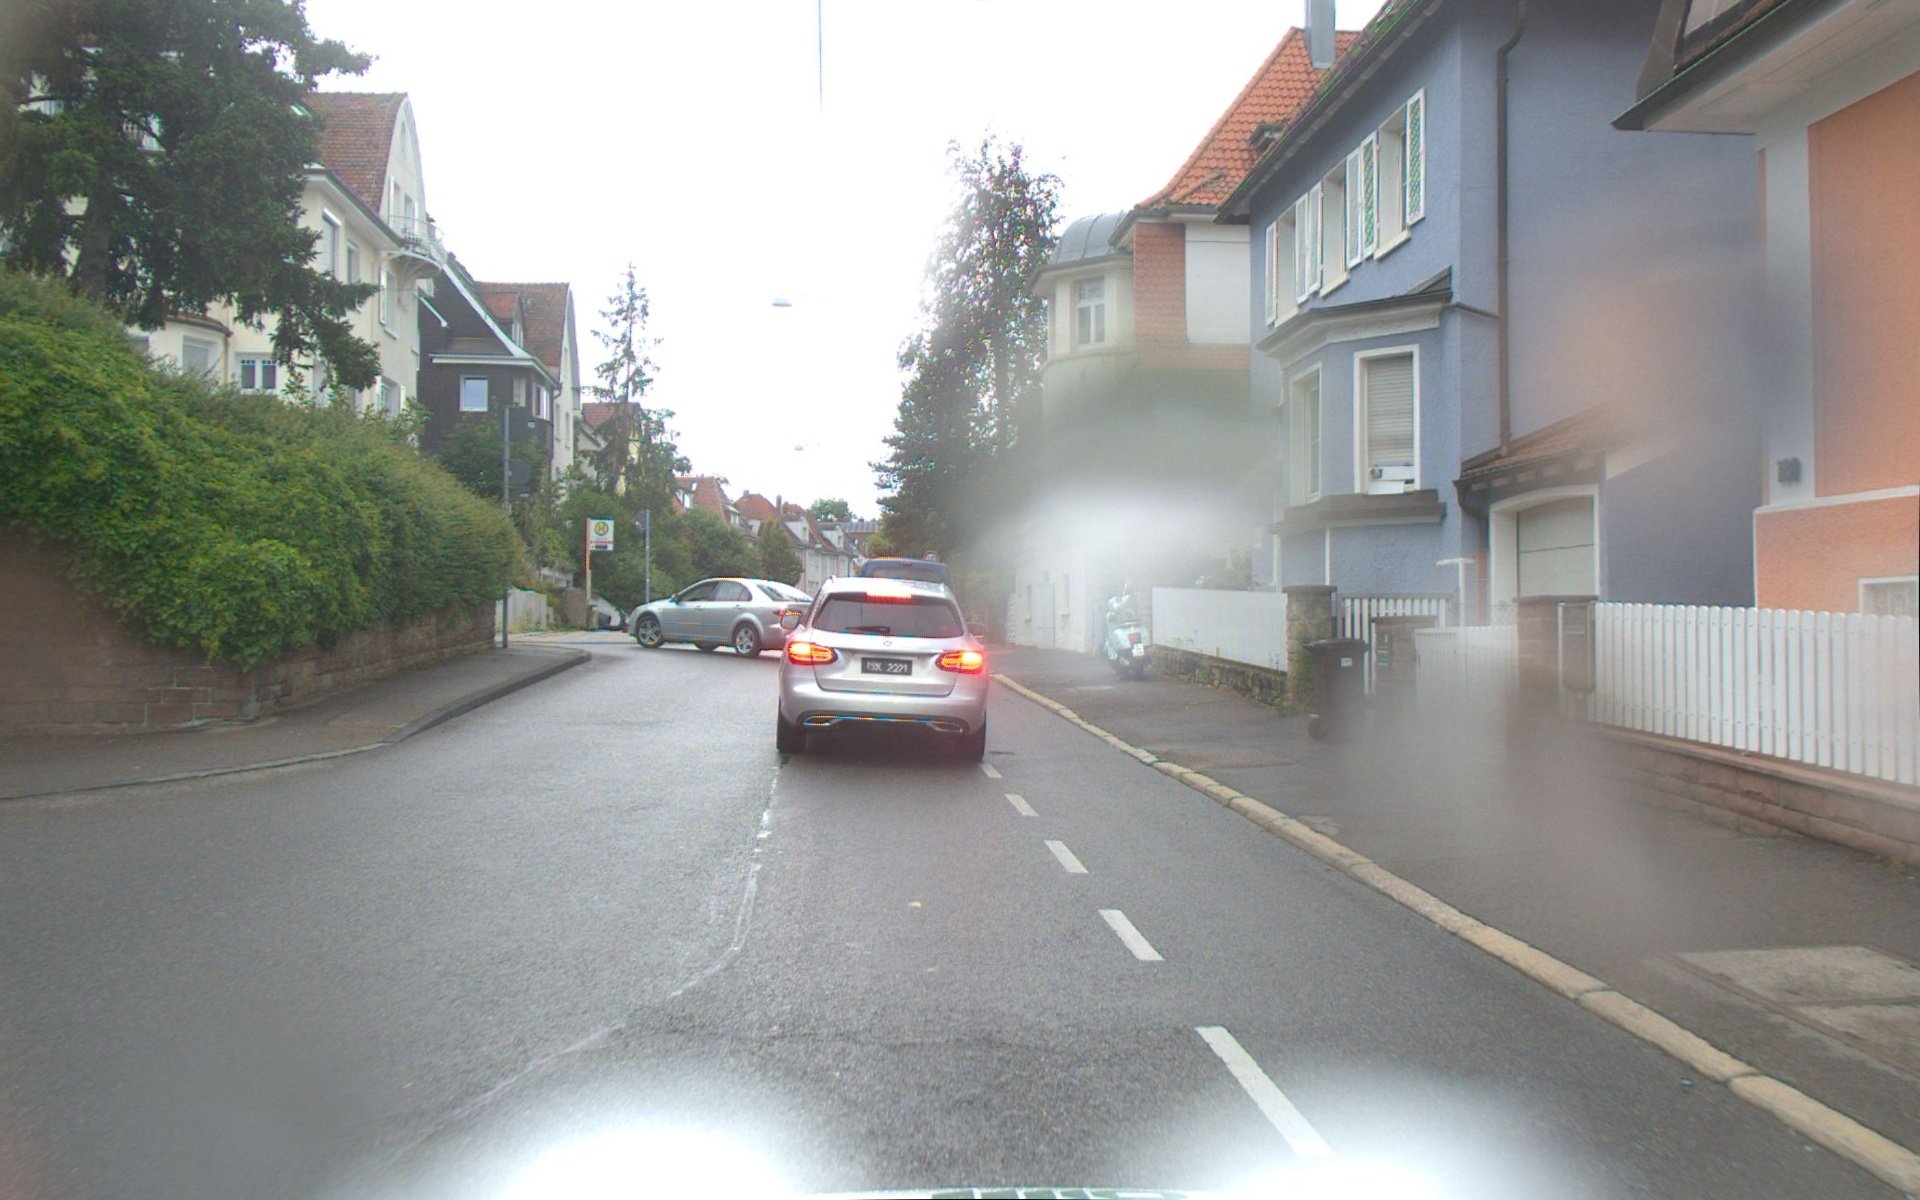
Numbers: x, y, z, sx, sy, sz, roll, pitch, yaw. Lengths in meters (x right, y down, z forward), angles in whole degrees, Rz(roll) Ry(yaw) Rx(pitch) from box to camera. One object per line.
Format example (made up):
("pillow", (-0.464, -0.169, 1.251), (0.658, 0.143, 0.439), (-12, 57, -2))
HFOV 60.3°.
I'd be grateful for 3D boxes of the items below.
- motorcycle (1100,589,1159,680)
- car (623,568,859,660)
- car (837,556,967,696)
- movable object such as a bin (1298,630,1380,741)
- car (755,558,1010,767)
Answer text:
("motorcycle", (2.527, 0.485, 24.842), (0.570, 1.283, 2.331), (-2, 1, -1))
("car", (-4.168, 0.228, 31.187), (4.249, 1.566, 1.991), (2, 1, 38))
("car", (-0.855, 0.320, 25.025), (1.787, 1.915, 4.094), (-1, 1, -2))
("movable object such as a bin", (3.467, 0.776, 15.174), (0.538, 0.952, 0.633), (-3, 1, -4))
("car", (-0.693, 0.453, 14.925), (1.943, 1.581, 4.296), (1, 1, -3))
